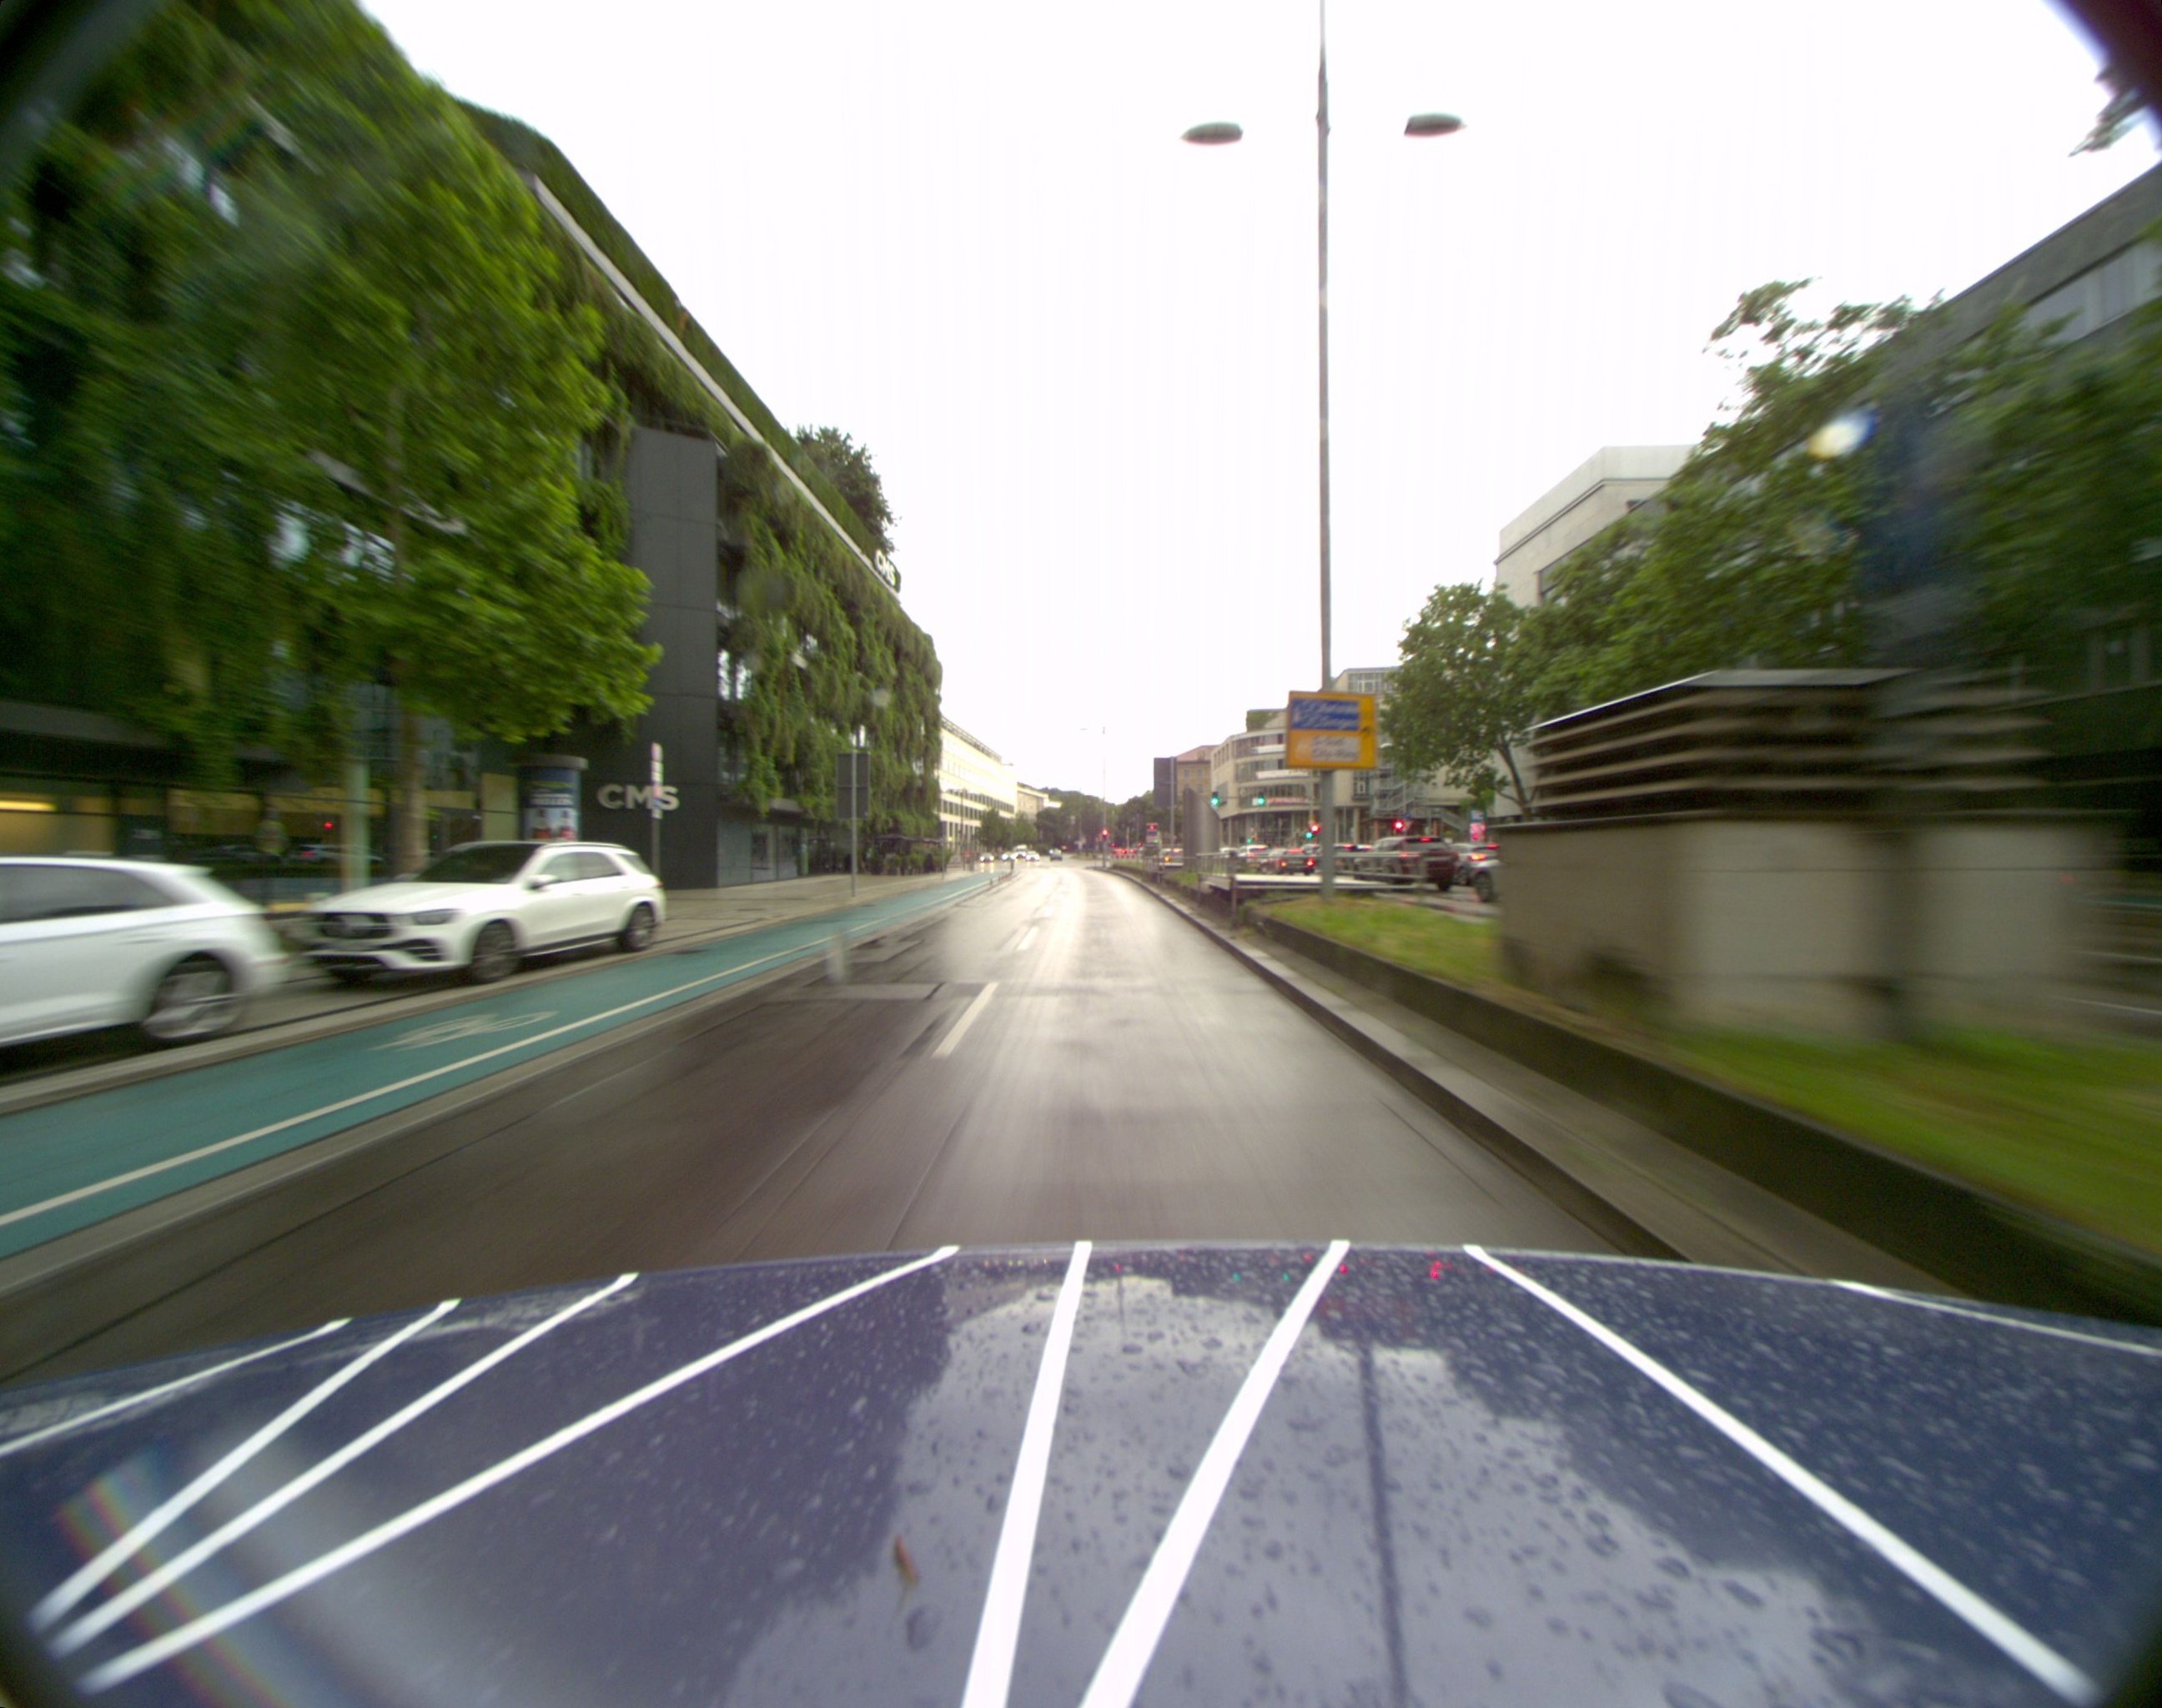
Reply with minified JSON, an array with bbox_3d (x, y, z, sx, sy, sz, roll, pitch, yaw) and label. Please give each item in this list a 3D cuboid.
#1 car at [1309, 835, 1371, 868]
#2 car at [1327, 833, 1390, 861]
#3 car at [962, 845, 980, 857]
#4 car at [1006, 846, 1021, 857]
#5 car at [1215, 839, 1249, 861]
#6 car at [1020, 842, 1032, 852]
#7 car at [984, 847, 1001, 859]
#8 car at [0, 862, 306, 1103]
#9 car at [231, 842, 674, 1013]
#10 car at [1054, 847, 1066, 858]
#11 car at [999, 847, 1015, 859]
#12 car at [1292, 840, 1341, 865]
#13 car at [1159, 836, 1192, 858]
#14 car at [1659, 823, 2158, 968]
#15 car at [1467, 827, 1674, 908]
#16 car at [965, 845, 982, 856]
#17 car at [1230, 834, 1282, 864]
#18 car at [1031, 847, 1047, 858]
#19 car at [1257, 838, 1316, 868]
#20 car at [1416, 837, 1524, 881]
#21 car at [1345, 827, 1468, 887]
[{"bbox_3d":[13.910,-0.158,41.072,1.848,1.656,4.411,-1,1,1],"label":"car"},{"bbox_3d":[16.994,-0.483,46.723,1.999,1.595,4.585,-2,1,-3],"label":"car"},{"bbox_3d":[-15.695,-0.435,108.312,1.739,1.543,4.670,-1,1,1],"label":"car"},{"bbox_3d":[-10.367,-0.364,117.089,1.739,1.543,4.670,-1,1,1],"label":"car"},{"bbox_3d":[10.470,-0.317,52.969,1.721,1.467,3.430,-1,1,1],"label":"car"},{"bbox_3d":[-11.111,-1.491,153.030,1.998,2.002,3.999,-1,1,1],"label":"car"},{"bbox_3d":[-12.801,-0.184,110.482,1.739,1.543,4.670,-2,1,1],"label":"car"},{"bbox_3d":[-8.483,0.947,4.963,1.848,1.623,4.785,-1,1,1],"label":"car"},{"bbox_3d":[-8.148,0.752,10.743,1.847,1.827,5.094,0,1,3],"label":"car"},{"bbox_3d":[-3.057,-0.285,112.077,1.739,1.543,4.669,-1,1,-1],"label":"car"},{"bbox_3d":[-10.442,-0.163,107.929,1.739,1.543,4.670,-1,1,1],"label":"car"},{"bbox_3d":[16.396,-0.132,53.124,1.762,1.609,4.659,-2,1,-4],"label":"car"},{"bbox_3d":[6.720,-0.512,54.216,1.848,1.473,4.163,-1,1,1],"label":"car"},{"bbox_3d":[10.806,0.421,10.600,1.919,1.543,4.539,-1,1,-3],"label":"car"},{"bbox_3d":[10.923,0.231,17.476,1.739,1.564,4.831,-1,1,1],"label":"car"},{"bbox_3d":[-16.395,-0.600,115.889,1.739,1.543,4.670,-1,1,1],"label":"car"},{"bbox_3d":[10.633,-0.313,46.520,1.882,1.675,4.796,-1,1,-3],"label":"car"},{"bbox_3d":[-6.253,-0.265,112.664,1.978,1.543,4.670,-1,1,1],"label":"car"},{"bbox_3d":[10.745,-0.065,40.108,1.848,1.442,4.916,-1,1,1],"label":"car"},{"bbox_3d":[14.237,0.133,28.114,1.723,1.483,4.568,-1,1,1],"label":"car"},{"bbox_3d":[10.664,0.048,25.397,1.840,1.756,5.107,-1,1,-1],"label":"car"}]
